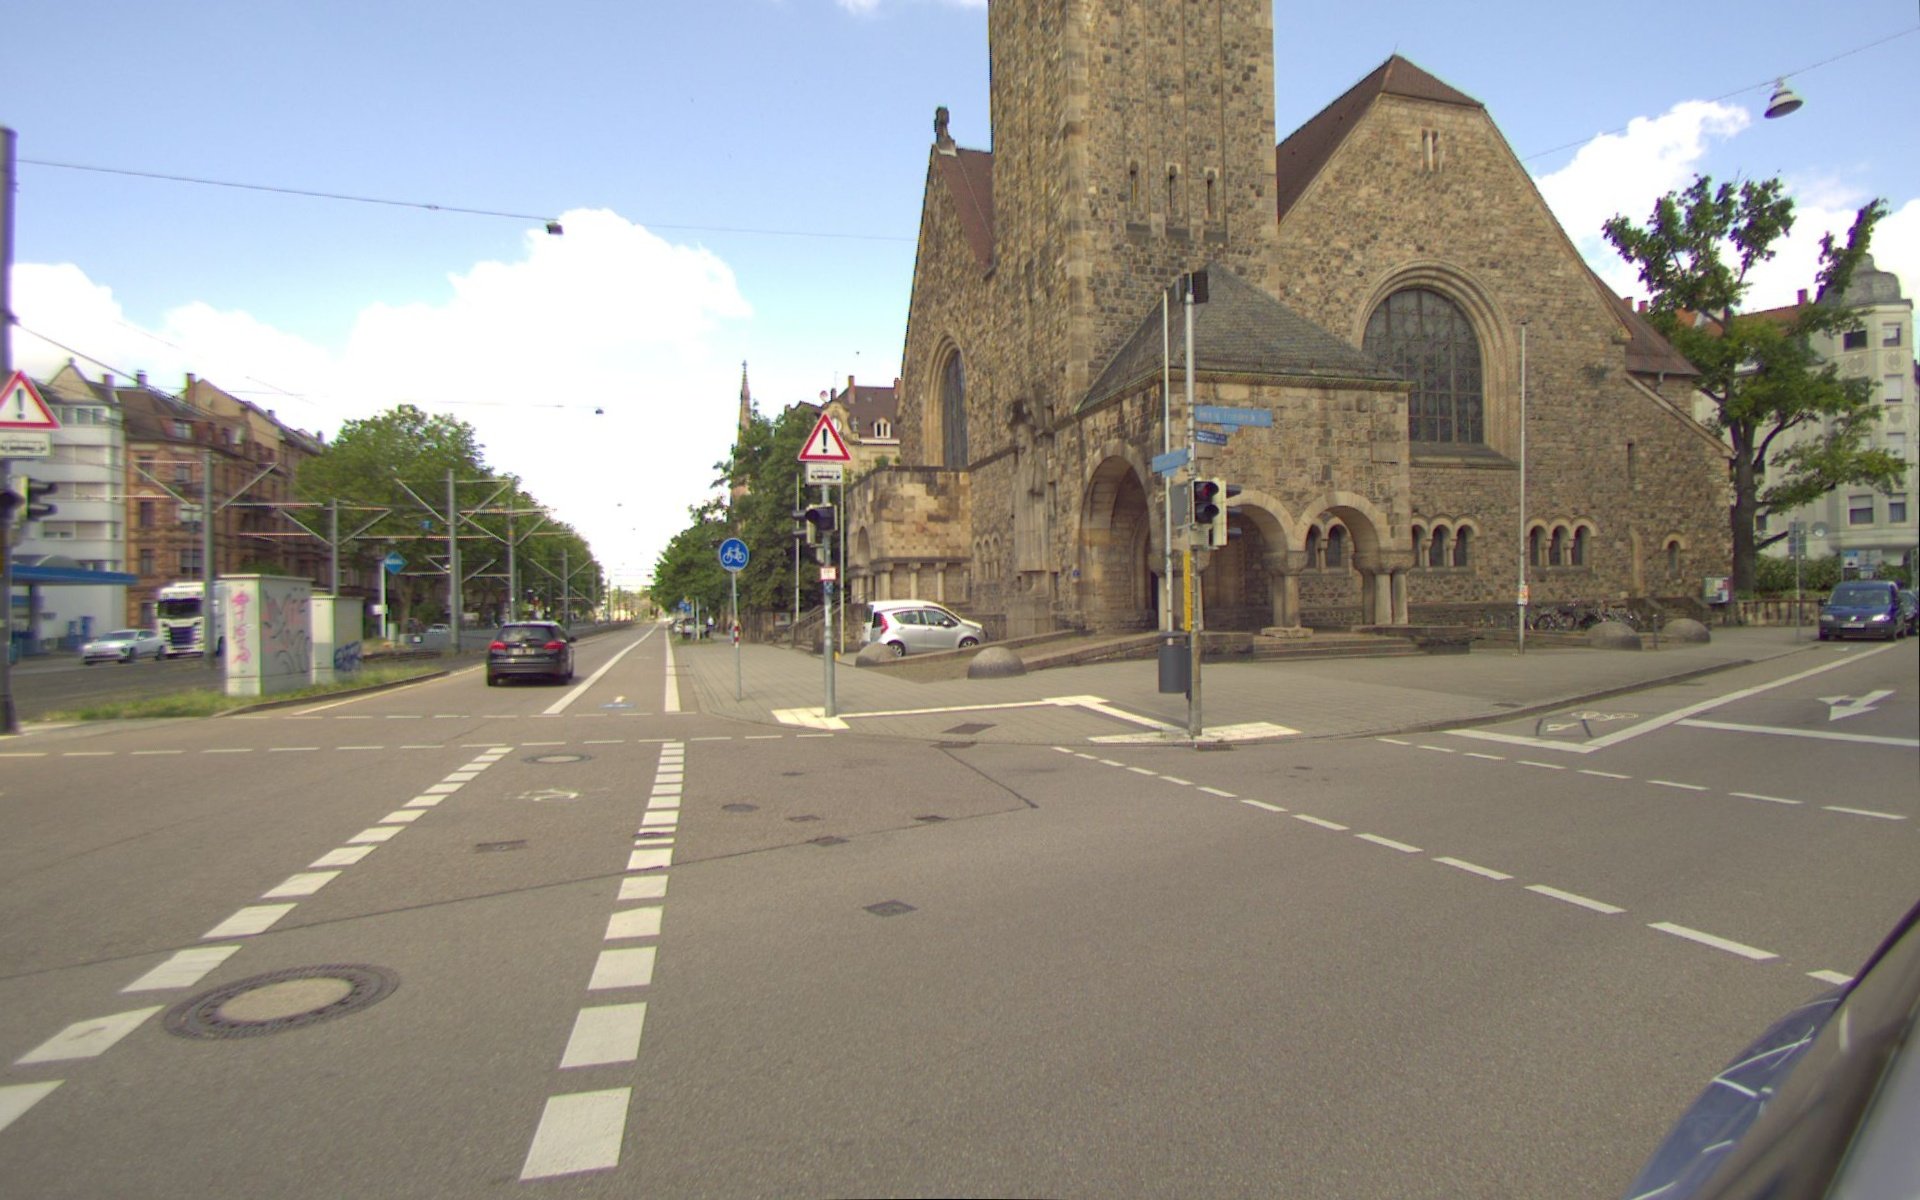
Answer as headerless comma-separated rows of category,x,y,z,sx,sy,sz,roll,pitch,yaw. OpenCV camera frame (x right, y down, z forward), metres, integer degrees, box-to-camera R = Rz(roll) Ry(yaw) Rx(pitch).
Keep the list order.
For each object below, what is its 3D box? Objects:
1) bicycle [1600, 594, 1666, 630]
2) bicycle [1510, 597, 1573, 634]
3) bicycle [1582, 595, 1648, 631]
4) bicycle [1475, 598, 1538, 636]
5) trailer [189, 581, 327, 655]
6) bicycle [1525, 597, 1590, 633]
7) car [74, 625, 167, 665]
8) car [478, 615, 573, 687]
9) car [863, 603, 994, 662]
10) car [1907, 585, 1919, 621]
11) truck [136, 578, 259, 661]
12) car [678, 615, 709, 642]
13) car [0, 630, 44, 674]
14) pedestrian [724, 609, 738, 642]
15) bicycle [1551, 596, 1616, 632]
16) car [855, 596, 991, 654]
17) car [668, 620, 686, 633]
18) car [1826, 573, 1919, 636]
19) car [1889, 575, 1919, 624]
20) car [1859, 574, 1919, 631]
bicycle,23.312,0.394,35.112,0.574,1.126,1.944,-1,2,-19
bicycle,19.492,0.506,33.971,0.574,1.126,1.944,-1,2,-19
bicycle,22.555,0.416,34.898,0.574,1.126,1.944,-1,2,-19
bicycle,18.043,0.549,33.441,0.574,1.126,1.944,-1,2,-19
trailer,-43.296,1.047,63.015,2.857,4.129,11.672,-1,0,-13
bicycle,20.159,0.487,34.188,0.574,1.126,1.944,-1,2,-19
car,-39.553,2.076,47.782,1.816,1.727,4.142,-1,-1,-15
car,-10.349,1.147,24.361,1.747,1.554,4.394,0,-1,-19
car,-0.971,0.978,30.651,3.561,1.700,1.822,0,-3,-19
car,40.196,0.085,41.369,3.731,1.465,1.681,-1,-1,-40
truck,-41.549,0.995,55.435,2.857,4.202,6.602,-1,0,-13
car,-16.470,1.742,62.389,1.752,1.514,3.844,-2,-1,-16
car,-36.597,1.961,38.060,1.651,1.583,3.760,-1,-1,-16
pedestrian,-11.886,1.328,52.501,0.645,1.686,0.847,-1,-1,-14
bicycle,21.130,0.458,34.355,0.574,1.126,1.944,-1,2,-19
car,-1.283,0.844,34.182,4.214,1.878,2.003,0,-2,-16
car,-27.345,2.544,97.649,1.621,1.249,3.069,-2,-1,-16
car,28.058,0.117,30.977,4.072,1.814,1.681,-1,-1,-40
car,36.672,-0.048,38.299,3.929,1.814,1.681,-1,-1,-40
car,31.938,0.076,34.239,3.929,1.814,1.681,-1,-1,-40
